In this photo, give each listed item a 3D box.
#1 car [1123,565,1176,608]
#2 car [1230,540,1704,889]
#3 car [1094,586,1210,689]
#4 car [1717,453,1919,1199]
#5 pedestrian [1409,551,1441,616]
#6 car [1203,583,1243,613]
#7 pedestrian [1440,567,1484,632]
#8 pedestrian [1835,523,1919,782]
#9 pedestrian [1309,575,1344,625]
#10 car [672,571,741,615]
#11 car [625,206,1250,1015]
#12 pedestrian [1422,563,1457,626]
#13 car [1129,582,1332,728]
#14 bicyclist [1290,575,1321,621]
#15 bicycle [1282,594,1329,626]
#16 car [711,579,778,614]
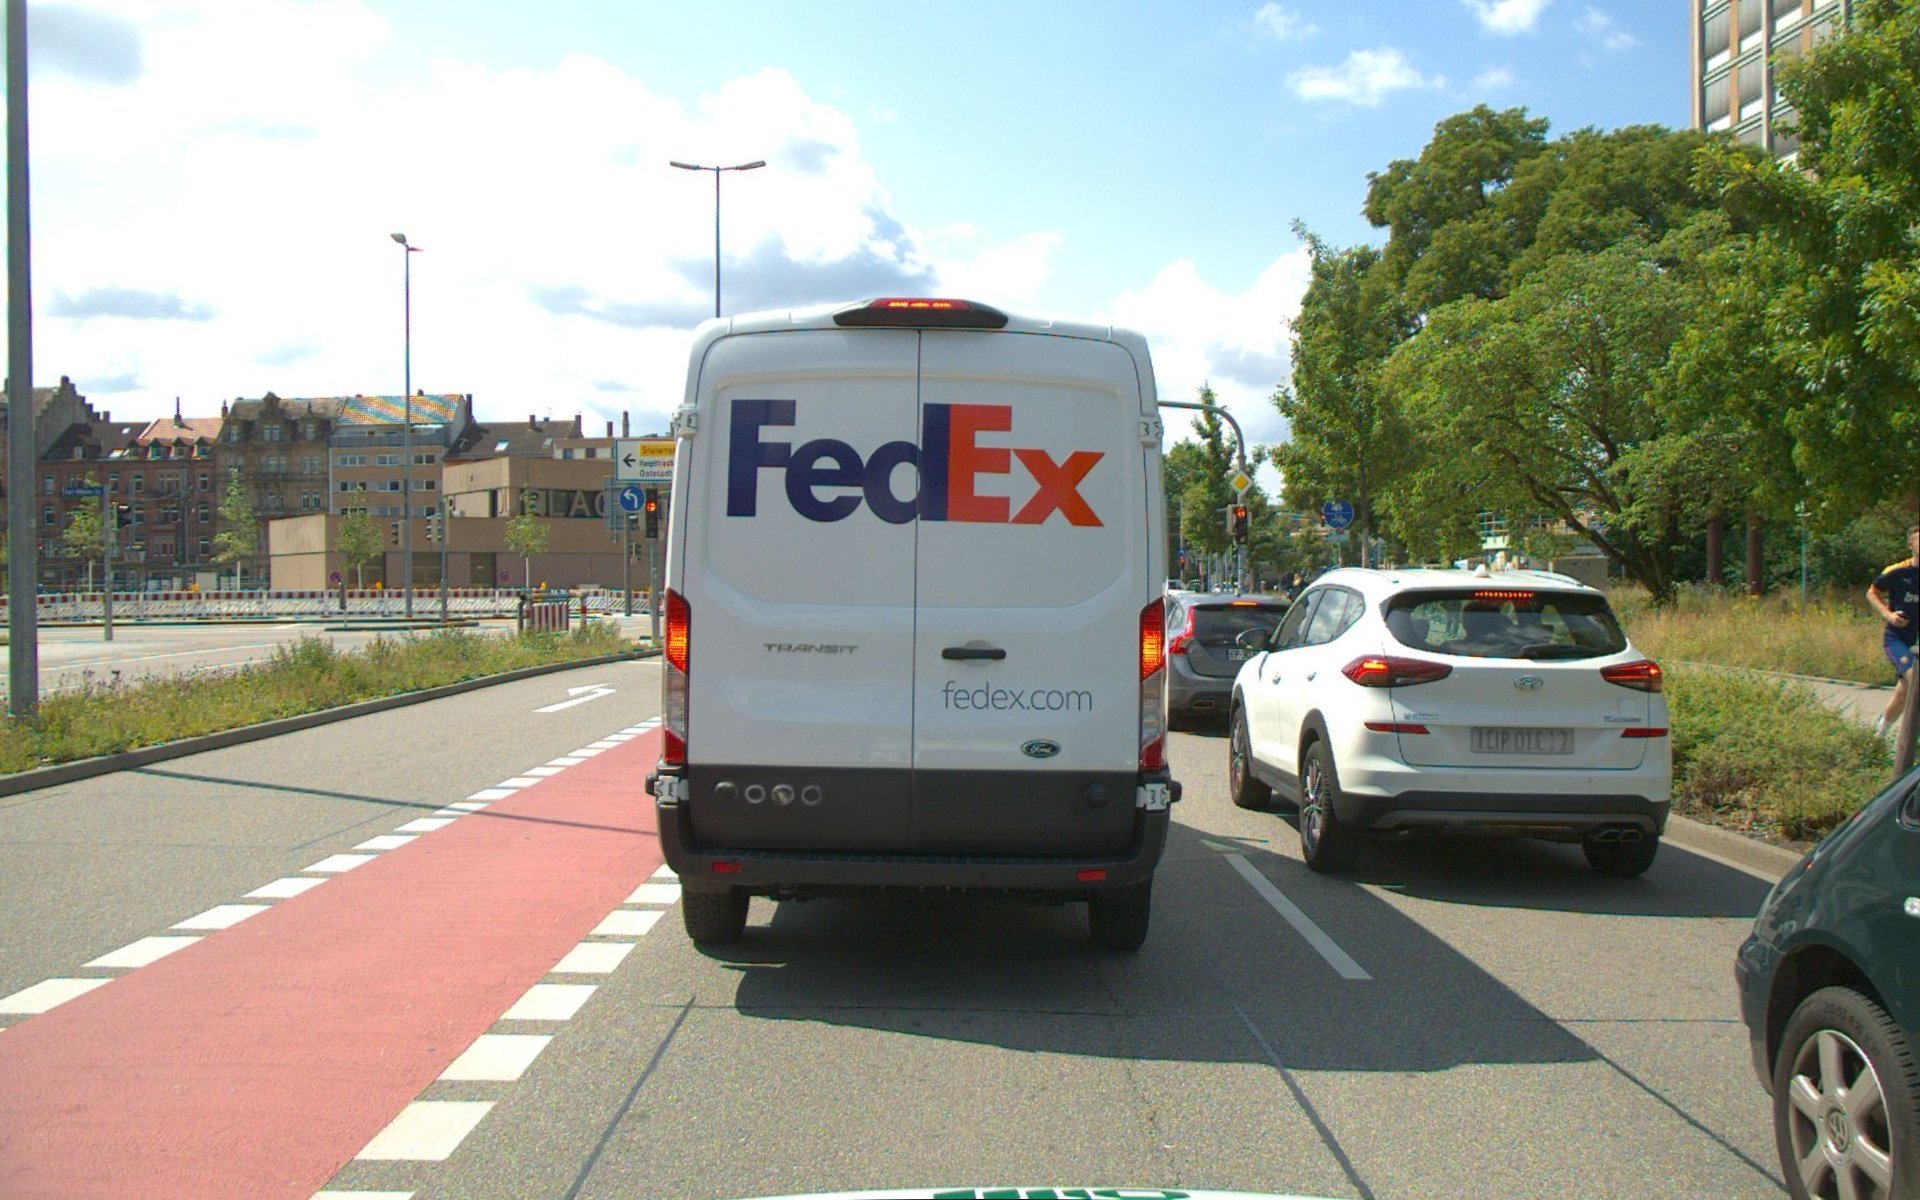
[{"bbox_3d":[9.274,-0.643,80.593,2.048,2.049,4.648,-1,0,13],"label":"car"},{"bbox_3d":[2.829,0.538,10.165,1.760,1.717,4.001,0,1,1],"label":"car"},{"bbox_3d":[2.892,0.523,25.487,1.454,1.453,3.433,0,1,1],"label":"car"},{"bbox_3d":[2.904,0.603,2.145,1.775,1.764,4.388,1,1,-1],"label":"car"},{"bbox_3d":[15.056,-0.542,53.529,0.726,2.094,0.844,0,1,38],"label":"pedestrian"},{"bbox_3d":[16.388,-0.128,102.883,1.951,1.825,4.374,-1,0,16],"label":"car"},{"bbox_3d":[12.287,-0.022,40.518,0.827,1.565,0.835,0,1,-1],"label":"pedestrian"},{"bbox_3d":[7.361,0.382,12.650,0.931,1.925,0.773,0,0,-1],"label":"pedestrian"},{"bbox_3d":[10.527,0.001,47.481,0.827,1.413,0.741,0,1,-1],"label":"pedestrian"},{"bbox_3d":[-12.359,-0.334,80.863,1.951,2.049,4.003,-1,0,14],"label":"car"},{"bbox_3d":[-0.200,0.020,8.427,2.098,2.699,5.701,0,0,-3],"label":"car"},{"bbox_3d":[15.772,-0.194,54.403,0.832,2.049,0.736,-1,1,-21],"label":"pedestrian"},{"bbox_3d":[2.965,0.541,18.851,1.760,1.486,3.839,0,1,1],"label":"car"},{"bbox_3d":[11.520,-0.069,55.173,0.963,1.500,0.543,-1,1,-43],"label":"bicyclist"},{"bbox_3d":[11.539,0.330,55.183,1.911,1.048,0.539,-1,1,-43],"label":"bicycle"},{"bbox_3d":[-10.294,-0.165,79.216,1.860,1.613,4.003,-1,0,13],"label":"car"}]
